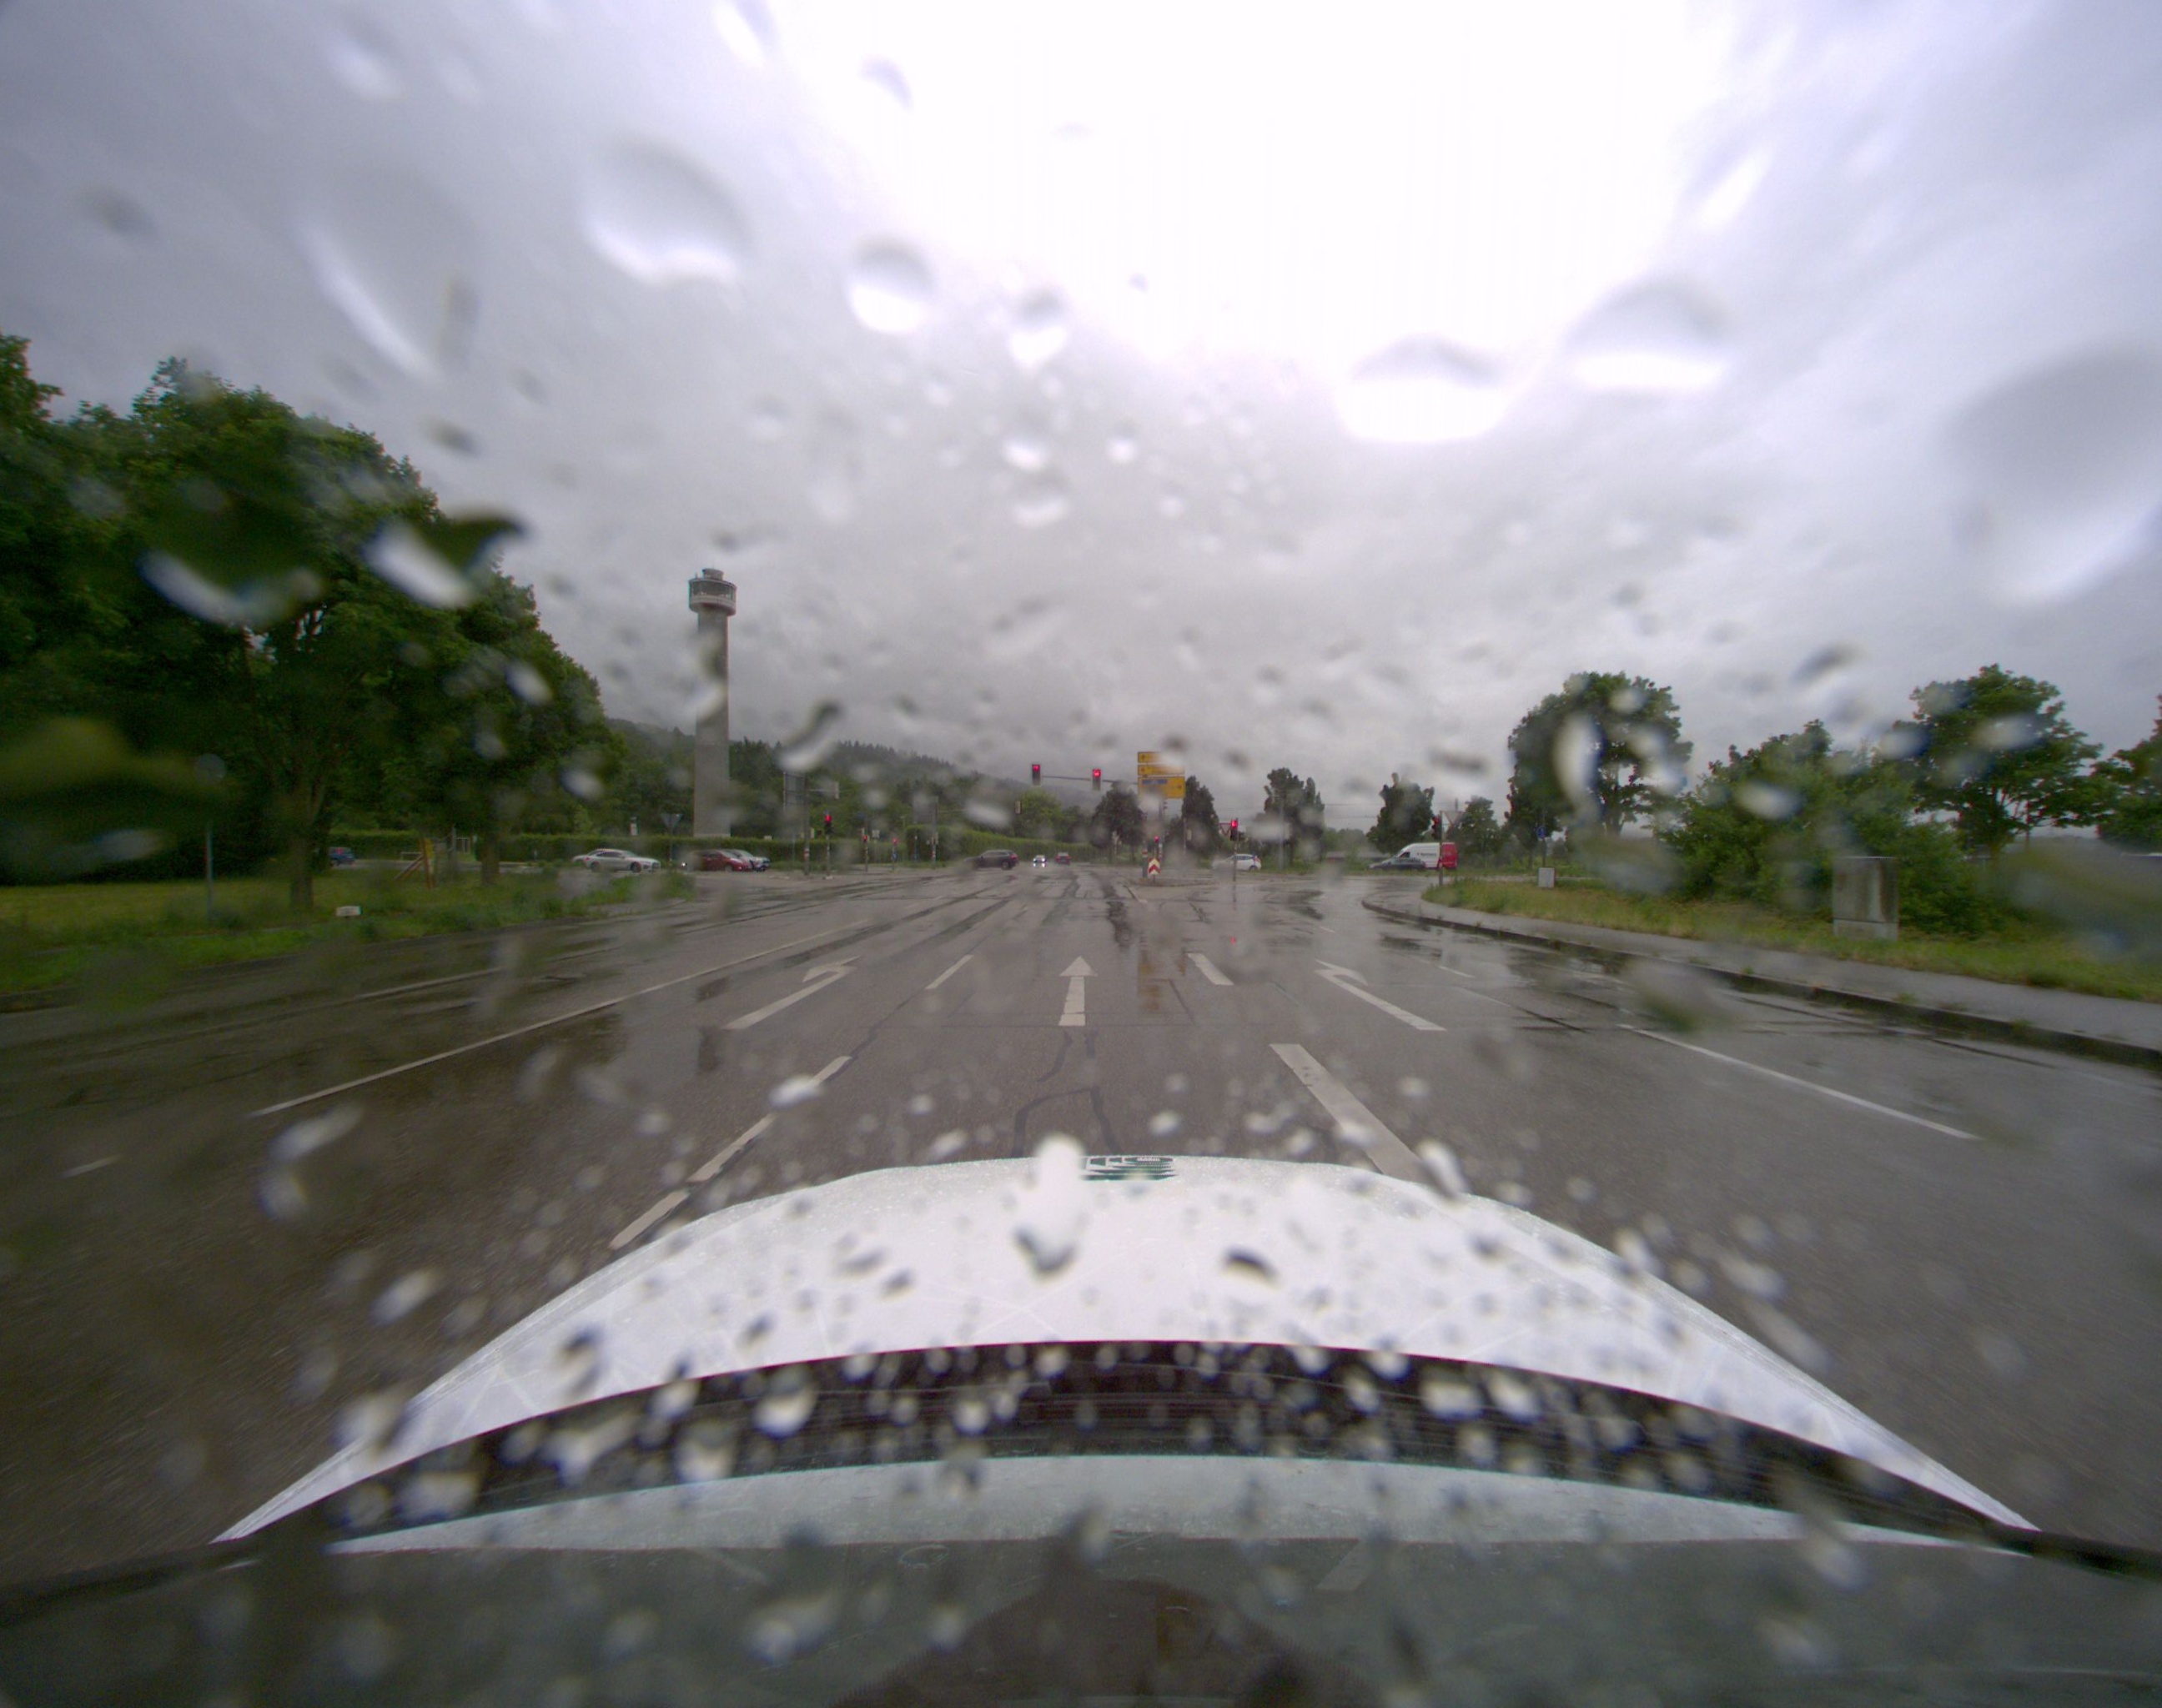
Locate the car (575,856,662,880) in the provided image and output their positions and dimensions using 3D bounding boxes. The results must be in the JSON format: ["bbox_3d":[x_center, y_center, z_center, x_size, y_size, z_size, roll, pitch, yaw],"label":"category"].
[{"bbox_3d":[-30.575,0.923,53.900,4.855,1.553,1.803,0,0,7],"label":"car"}]

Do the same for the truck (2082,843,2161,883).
[{"bbox_3d":[81.192,0.685,60.851,8.772,2.832,2.661,1,1,6],"label":"truck"}]

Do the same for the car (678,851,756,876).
[{"bbox_3d":[-23.808,0.625,53.292,4.351,1.579,1.736,0,1,7],"label":"car"}]

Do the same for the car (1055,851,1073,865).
[{"bbox_3d":[-2.069,0.505,100.421,1.872,1.573,4.646,-2,0,2],"label":"car"}]

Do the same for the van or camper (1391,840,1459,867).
[{"bbox_3d":[28.098,-0.069,66.628,4.818,2.169,2.167,0,0,10],"label":"van or camper"}]

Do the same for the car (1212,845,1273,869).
[{"bbox_3d":[12.801,0.232,64.852,4.645,1.915,1.919,0,0,6],"label":"car"}]

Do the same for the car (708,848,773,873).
[{"bbox_3d":[-23.810,0.442,56.950,3.780,1.711,1.750,0,0,8],"label":"car"}]

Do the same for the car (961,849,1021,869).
[{"bbox_3d":[-7.340,0.399,66.588,4.649,1.639,1.825,0,0,4],"label":"car"}]

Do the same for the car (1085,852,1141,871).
[{"bbox_3d":[2.722,0.663,69.044,4.649,1.553,1.825,0,0,4],"label":"car"}]

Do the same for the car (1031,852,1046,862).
[{"bbox_3d":[-7.210,0.481,138.361,1.870,1.573,4.651,-2,0,5],"label":"car"}]

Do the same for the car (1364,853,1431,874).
[{"bbox_3d":[24.797,0.747,63.899,4.647,1.553,1.825,0,0,5],"label":"car"}]
